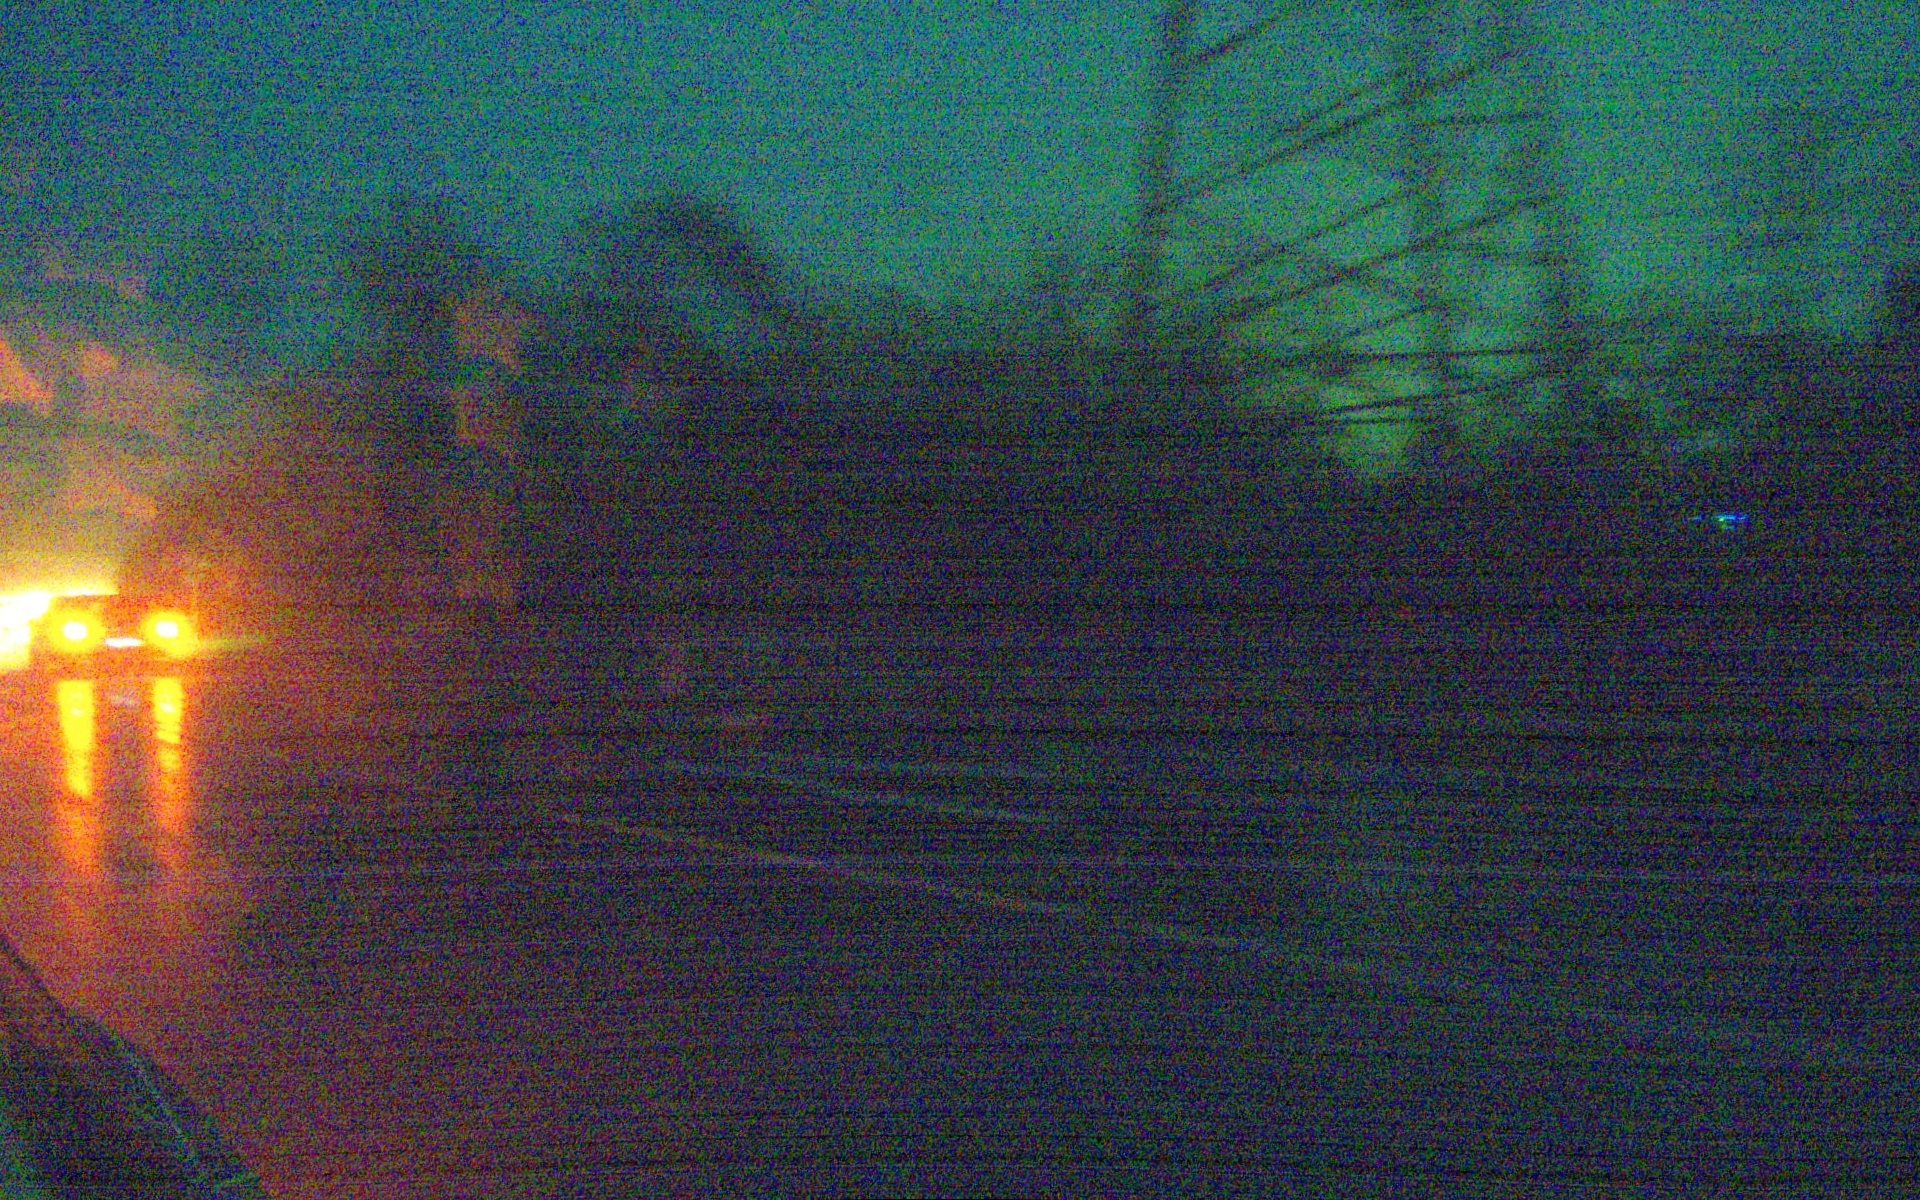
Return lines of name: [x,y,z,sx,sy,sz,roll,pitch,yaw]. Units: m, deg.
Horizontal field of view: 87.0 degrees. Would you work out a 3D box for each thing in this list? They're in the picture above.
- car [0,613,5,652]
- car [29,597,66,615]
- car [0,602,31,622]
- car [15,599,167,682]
car: [-37.657,1.206,38.365,4.034,1.399,1.753,0,0,41]
car: [-78.990,0.476,87.629,1.747,1.495,4.392,0,0,-34]
car: [-68.187,0.829,72.923,1.750,1.399,4.118,0,0,-42]
car: [-20.680,0.872,24.012,4.956,1.760,1.842,0,0,38]
